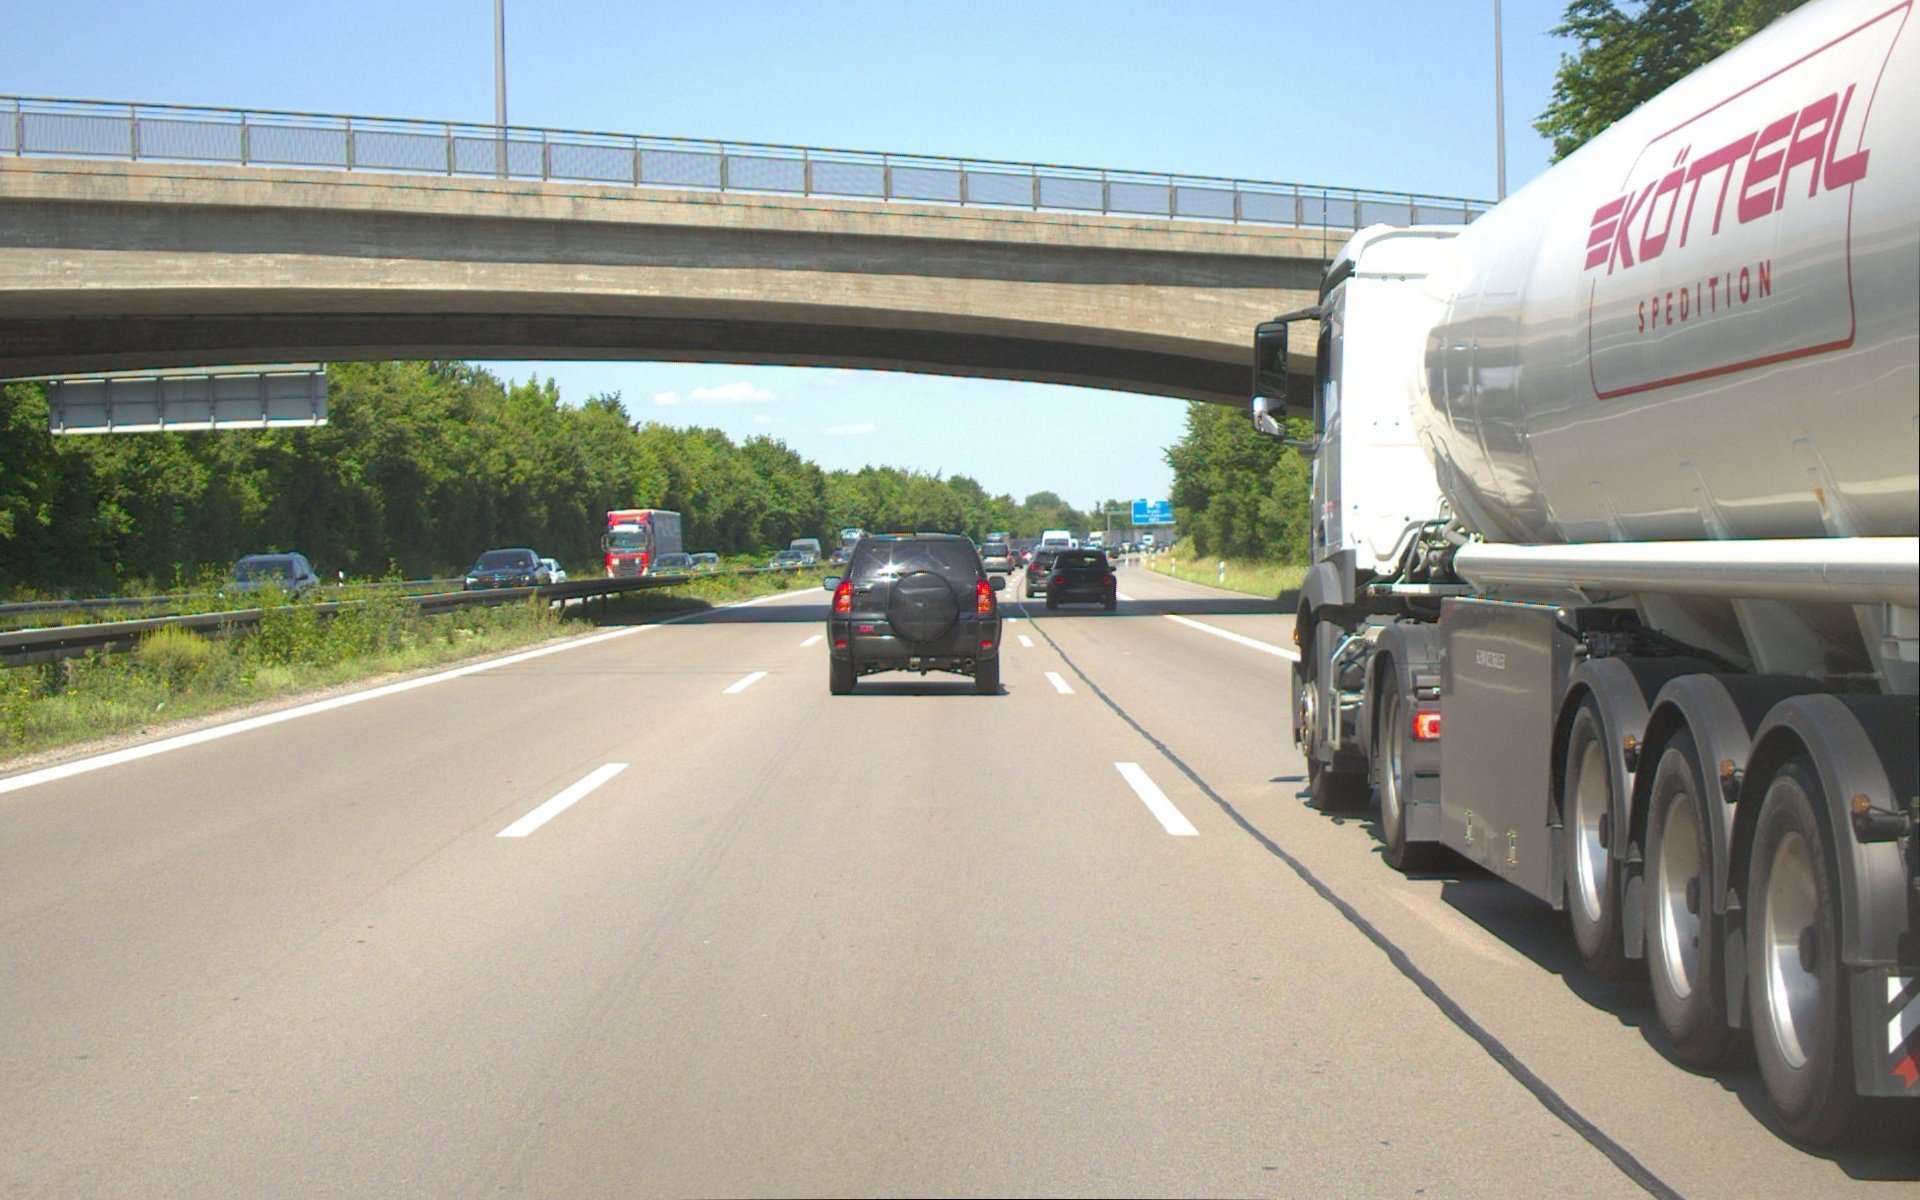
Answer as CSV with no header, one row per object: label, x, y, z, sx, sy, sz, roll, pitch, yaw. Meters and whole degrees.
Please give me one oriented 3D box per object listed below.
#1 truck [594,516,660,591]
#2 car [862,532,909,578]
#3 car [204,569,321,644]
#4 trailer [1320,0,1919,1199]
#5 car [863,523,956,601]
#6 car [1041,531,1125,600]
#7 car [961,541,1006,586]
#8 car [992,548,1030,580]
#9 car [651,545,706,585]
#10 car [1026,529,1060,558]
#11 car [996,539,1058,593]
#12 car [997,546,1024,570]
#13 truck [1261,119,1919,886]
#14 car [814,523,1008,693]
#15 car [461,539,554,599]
truck,-18.713,-2.635,193.512,2.785,4.047,6.209,-3,1,1
car,-3.384,-2.060,157.104,1.993,2.007,4.950,-2,1,0
car,-15.998,0.147,79.022,1.899,1.635,4.000,-1,0,-1
trailer,3.236,-0.347,12.214,2.648,3.378,11.152,0,1,0
car,-1.139,-0.884,79.391,1.993,1.700,4.336,-2,1,0
car,3.098,-0.849,87.335,1.993,1.678,4.000,-1,0,1
car,1.072,-1.702,159.238,1.993,2.007,4.768,-1,1,0
car,2.872,-2.028,193.682,1.993,1.744,4.205,-1,1,-1
car,-11.031,-1.380,134.792,1.774,1.468,4.420,-3,1,-1
car,5.137,-3.523,213.420,1.812,1.740,4.001,-1,1,-2
car,2.078,-1.052,107.016,1.842,1.606,4.000,-1,0,0
car,3.742,-3.087,253.586,1.812,1.740,4.000,-1,1,-1
truck,3.193,-0.475,18.343,2.638,3.363,6.487,0,1,0
car,-0.556,0.051,36.223,1.906,1.659,4.000,-1,1,-2
car,-12.080,-0.860,92.031,1.860,1.522,4.751,-1,1,0
